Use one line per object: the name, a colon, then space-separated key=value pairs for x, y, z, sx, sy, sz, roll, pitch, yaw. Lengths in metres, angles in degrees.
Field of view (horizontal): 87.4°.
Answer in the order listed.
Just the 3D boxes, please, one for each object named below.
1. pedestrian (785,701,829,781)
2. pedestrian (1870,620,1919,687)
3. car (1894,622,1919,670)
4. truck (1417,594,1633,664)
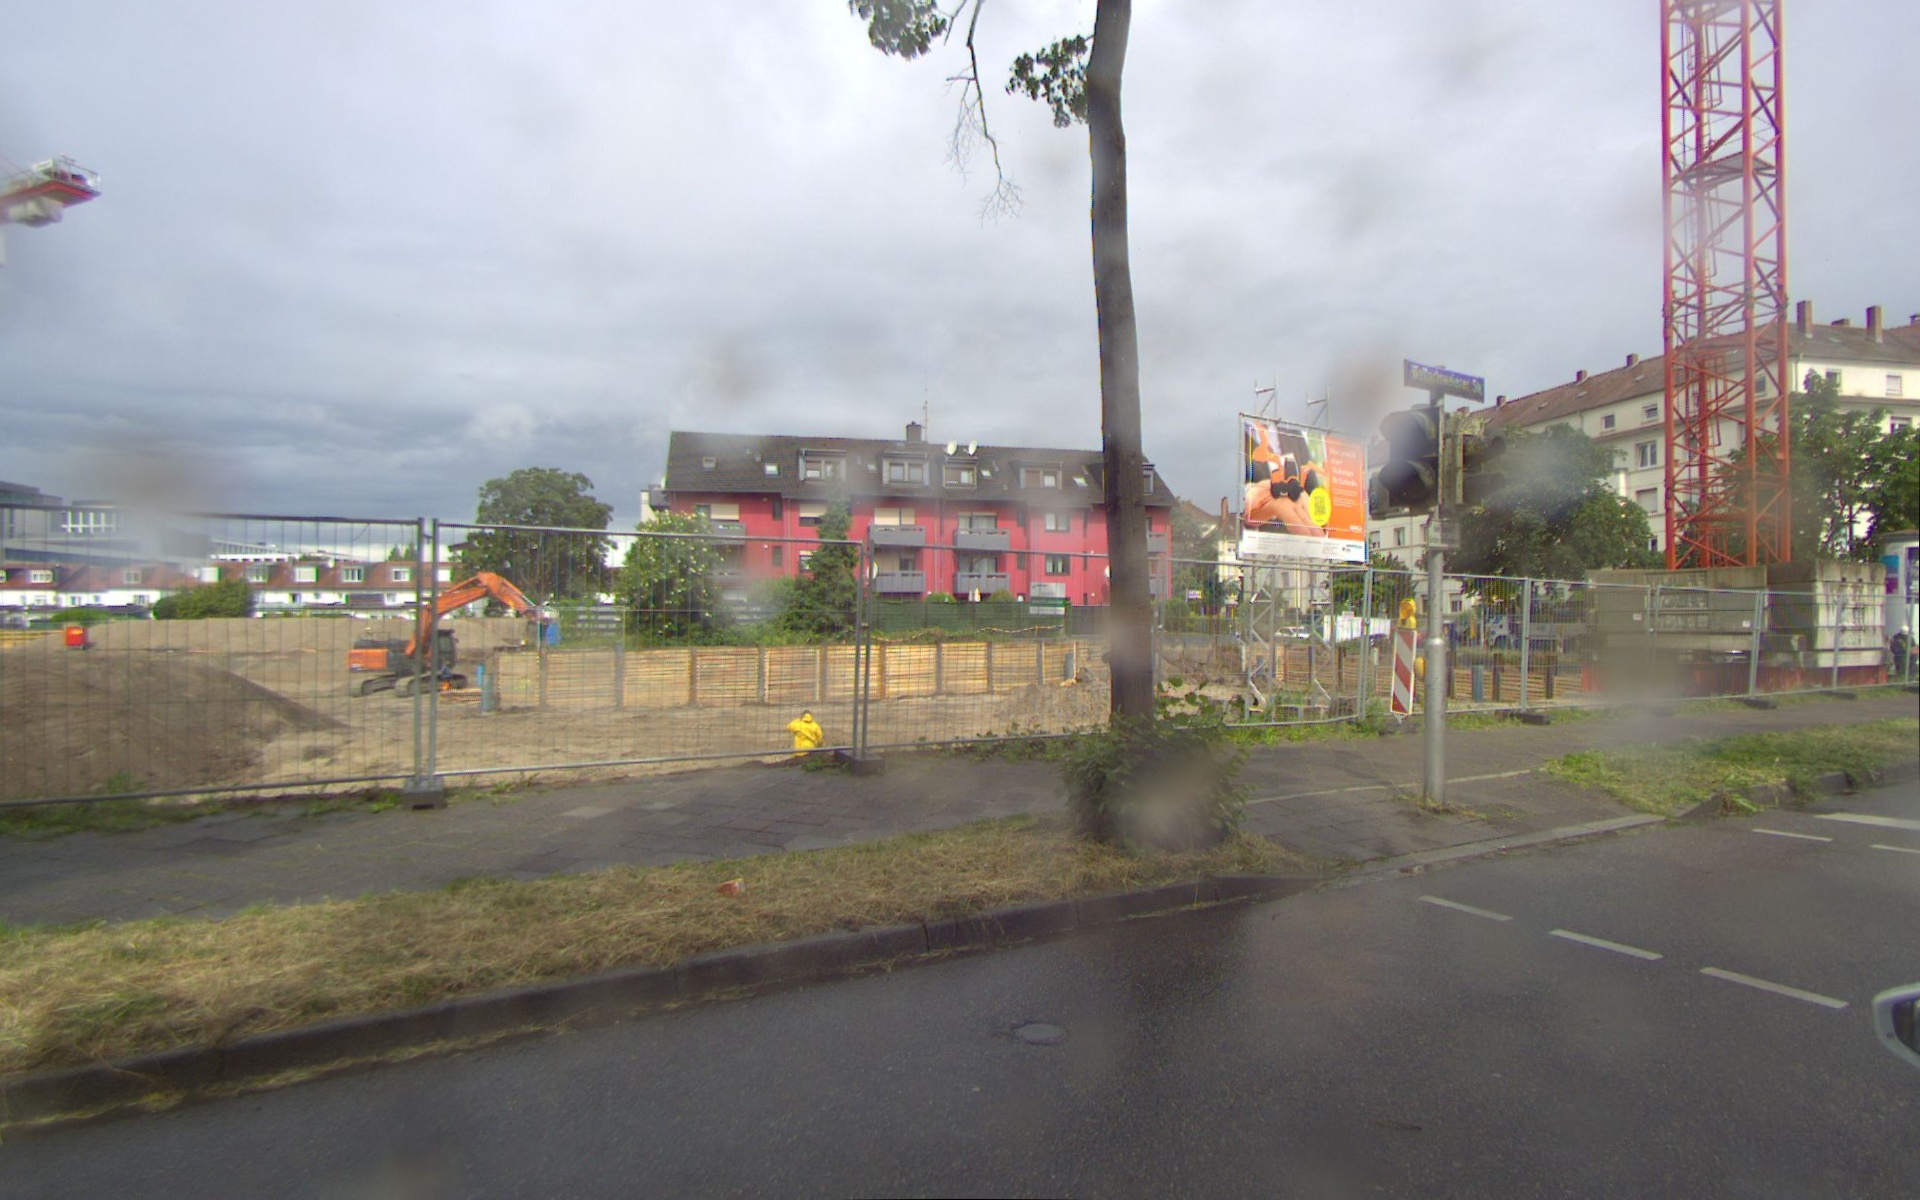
pedestrian: x=-3.425 y=3.127 z=22.421 sx=0.837 sy=1.706 sz=0.585 roll=1 pitch=-4 yaw=-25
pedestrian: x=24.101 y=1.365 z=25.914 sx=0.710 sy=1.651 sz=0.684 roll=1 pitch=0 yaw=23
car: x=34.557 y=1.525 z=34.061 sx=1.879 sy=1.658 sz=3.958 roll=3 pitch=-5 yaw=-38
truck: x=28.469 y=1.389 z=51.393 sx=3.731 sy=3.226 sz=9.808 roll=0 pitch=-1 yaw=-17
